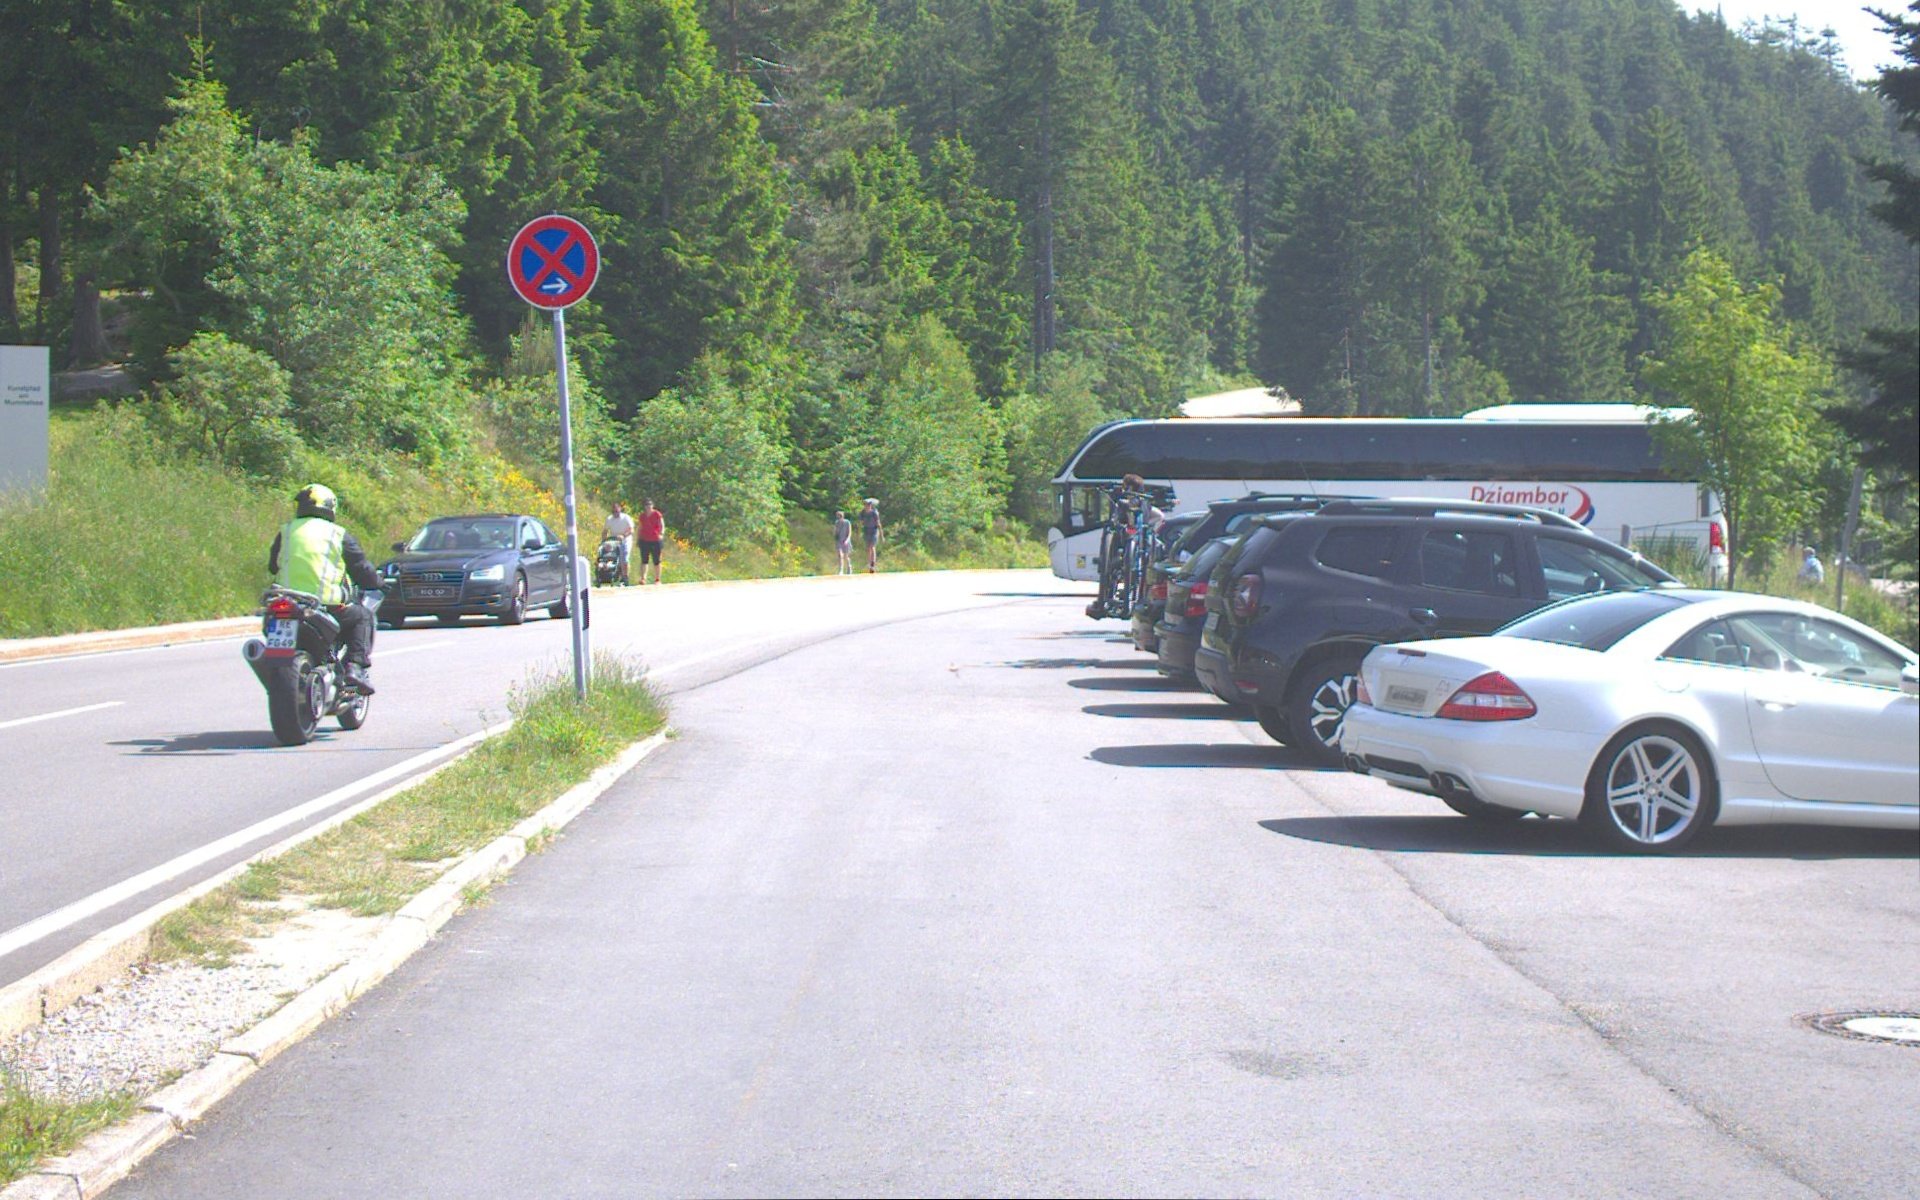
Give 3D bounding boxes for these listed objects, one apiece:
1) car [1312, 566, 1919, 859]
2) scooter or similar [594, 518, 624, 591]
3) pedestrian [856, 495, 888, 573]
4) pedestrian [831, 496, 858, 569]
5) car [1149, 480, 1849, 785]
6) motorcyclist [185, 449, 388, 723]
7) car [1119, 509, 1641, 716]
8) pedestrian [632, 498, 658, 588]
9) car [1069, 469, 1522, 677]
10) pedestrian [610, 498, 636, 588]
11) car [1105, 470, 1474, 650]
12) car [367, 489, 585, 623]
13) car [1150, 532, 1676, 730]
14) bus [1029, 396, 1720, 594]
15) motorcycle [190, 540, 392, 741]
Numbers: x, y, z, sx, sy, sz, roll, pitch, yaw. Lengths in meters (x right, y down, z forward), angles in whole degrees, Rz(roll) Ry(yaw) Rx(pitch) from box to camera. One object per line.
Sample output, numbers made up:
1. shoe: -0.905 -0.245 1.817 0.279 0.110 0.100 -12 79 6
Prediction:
1. car: 4.227 0.600 17.856 4.452 1.294 1.583 3 2 -18
2. scooter or similar: -6.918 -0.902 67.760 0.483 1.375 0.817 -3 3 -2
3. pedestrian: -2.299 -1.723 89.737 0.732 2.007 0.862 -3 1 -2
4. pedestrian: -3.054 -1.790 90.802 0.622 1.893 0.655 -3 1 -2
5. car: 3.433 0.185 22.351 3.986 1.693 2.001 3 3 -9
6. motorcyclist: -4.211 -0.099 21.592 1.025 1.669 1.293 0 1 -1
7. car: 3.446 0.078 28.772 3.986 1.448 2.001 2 3 -3
8. pedestrian: -6.237 -1.136 68.069 0.394 1.741 0.406 -3 3 -2
9. car: 3.125 -0.279 32.643 3.986 1.713 1.868 2 3 -2
10. pedestrian: -6.705 -1.136 68.402 0.414 1.741 0.457 -3 3 -2
11. car: 3.746 -0.487 39.642 3.987 1.808 1.940 3 4 0
12. car: -6.401 -0.626 45.927 1.994 1.656 4.000 -1 2 5
13. car: 3.336 0.213 25.778 3.635 1.299 1.641 1 3 -3
14. bus: 7.958 -2.009 66.077 12.869 3.565 2.980 0 4 15
15. motorcycle: -4.191 0.225 21.717 0.822 1.173 2.286 -1 1 -1
